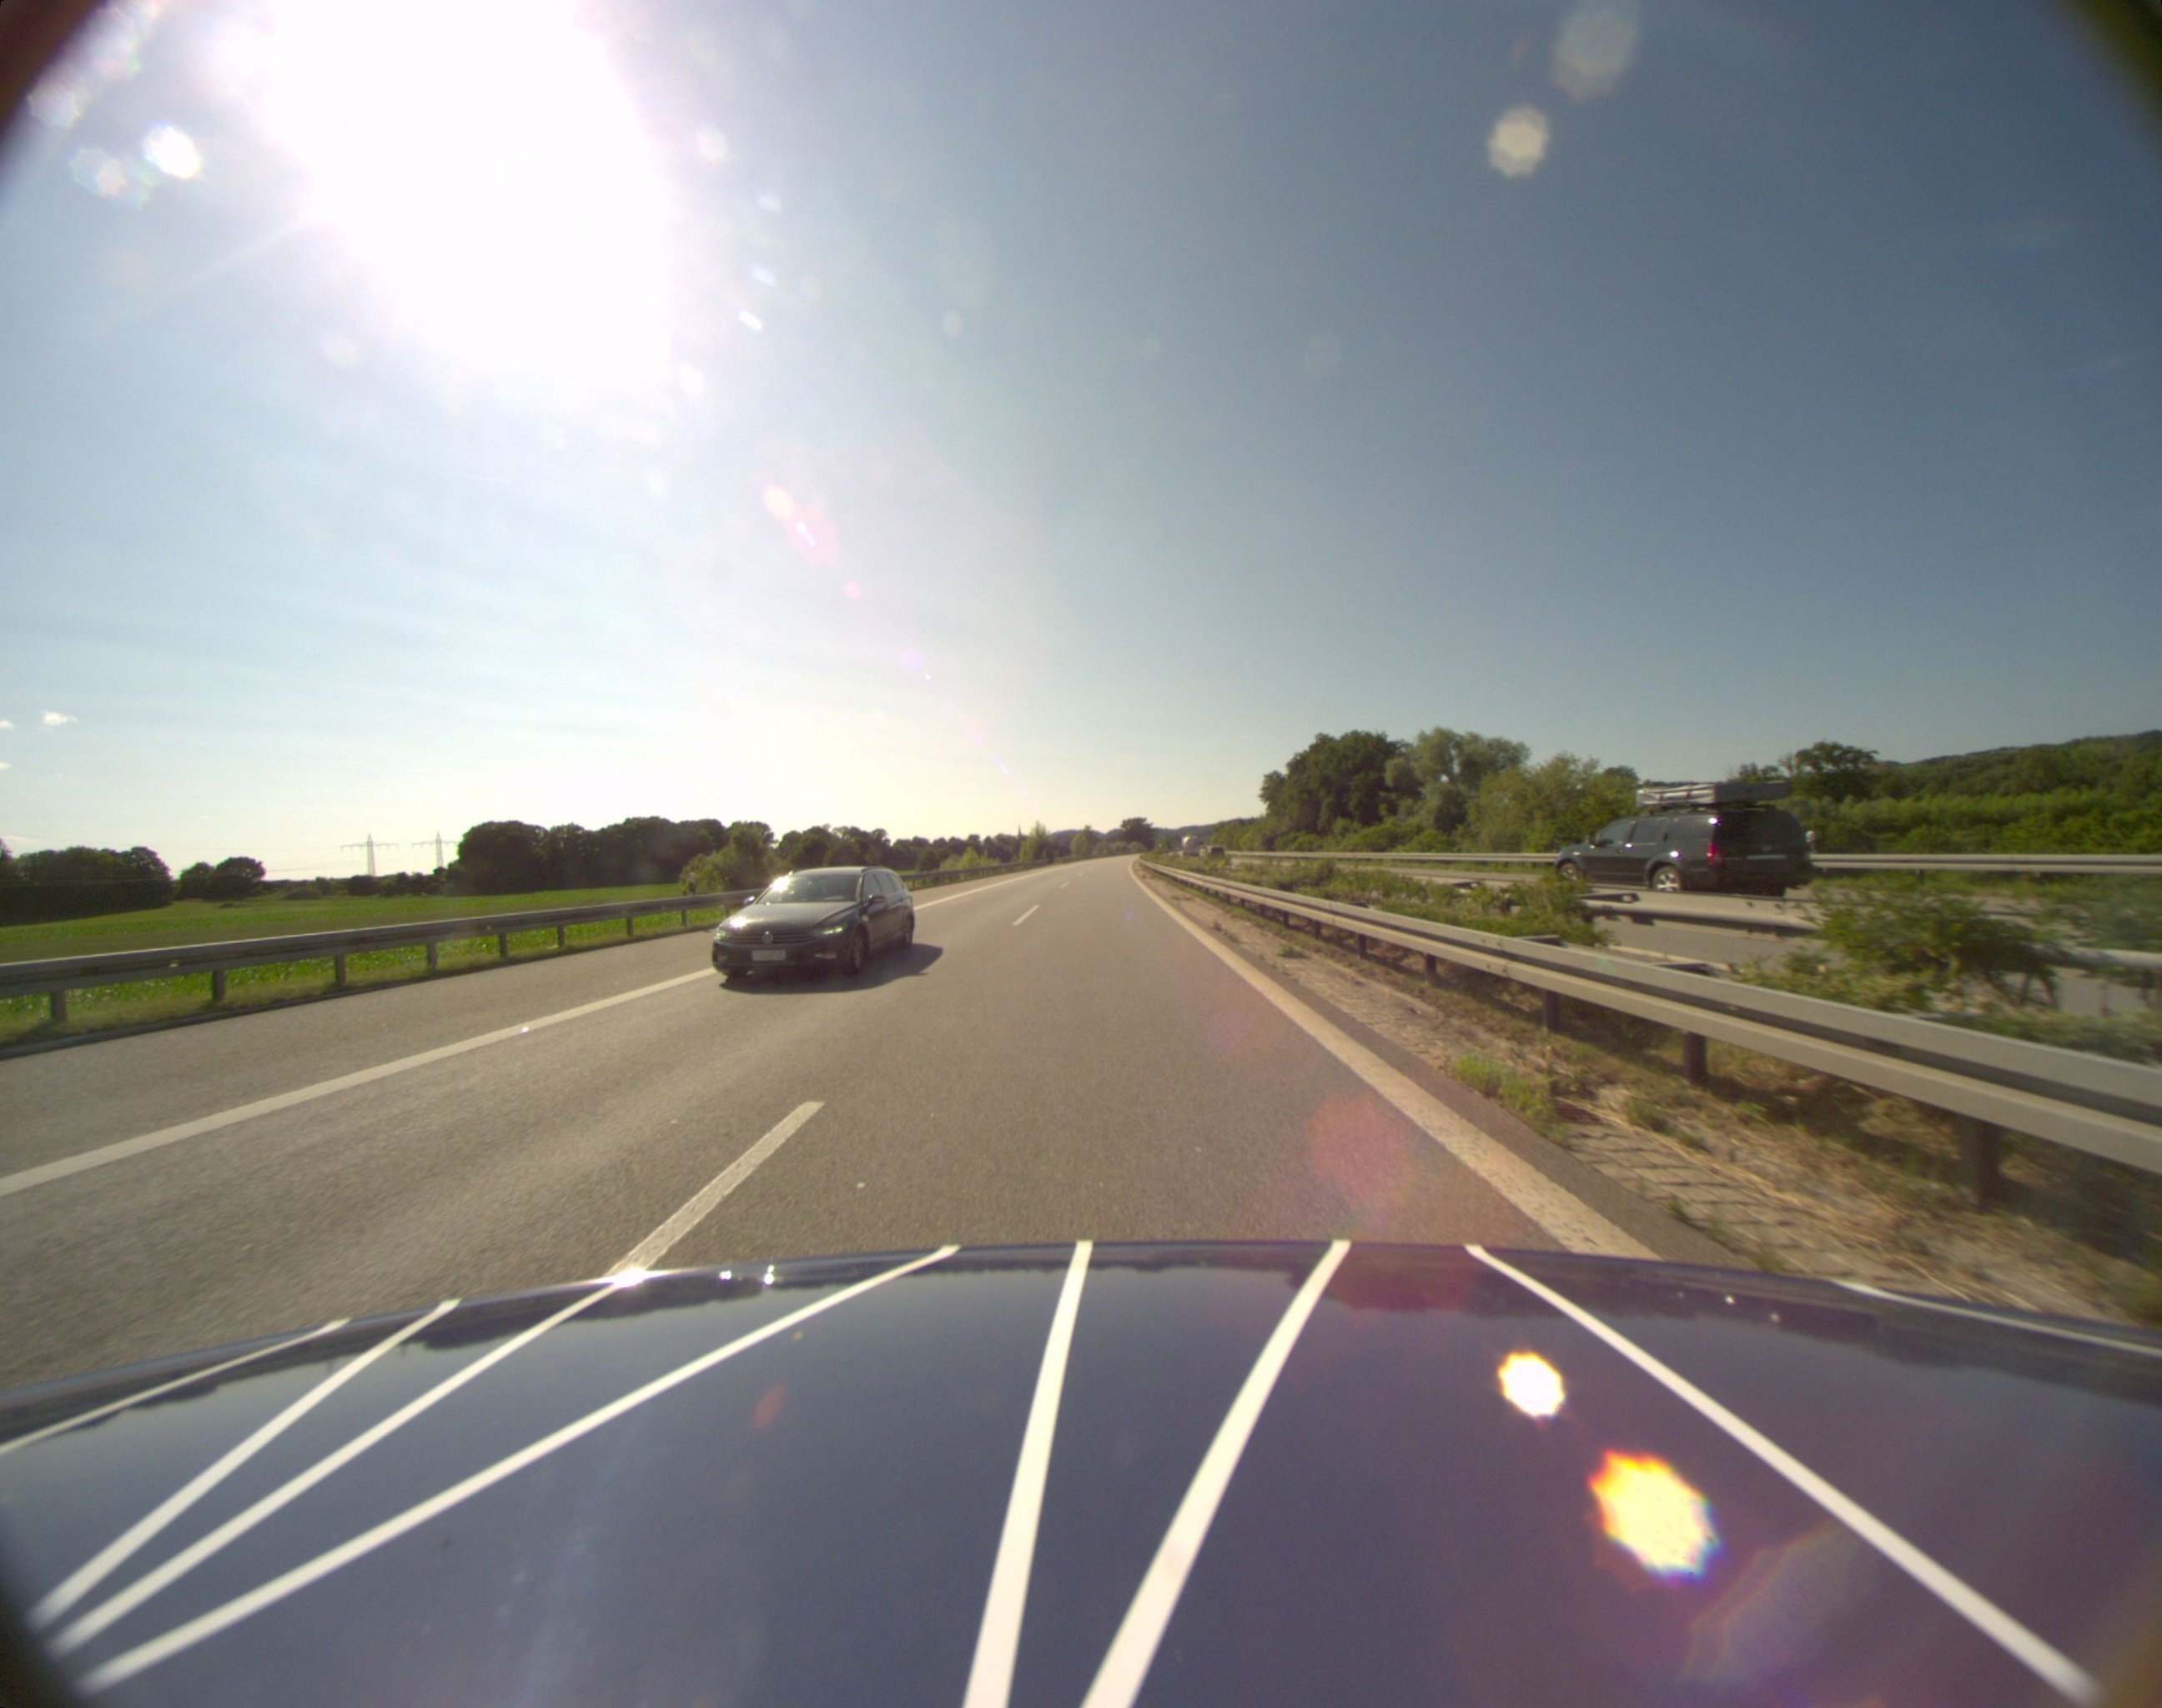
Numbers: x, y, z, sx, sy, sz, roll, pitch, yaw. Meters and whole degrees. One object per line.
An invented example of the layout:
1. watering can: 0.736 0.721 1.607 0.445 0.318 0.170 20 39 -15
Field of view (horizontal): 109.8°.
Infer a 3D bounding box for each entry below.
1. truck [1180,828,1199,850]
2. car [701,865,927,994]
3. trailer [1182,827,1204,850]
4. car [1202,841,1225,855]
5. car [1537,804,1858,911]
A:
1. truck: 19.485 -2.643 136.633 2.747 3.706 5.972 -1 1 3
2. car: -3.769 0.979 11.655 1.723 1.392 4.413 -2 1 2
3. trailer: 19.203 -2.595 130.702 2.747 3.705 10.914 -1 1 3
4. car: 15.187 -0.674 87.365 1.998 1.546 4.419 -1 1 2
5. car: 11.467 0.040 14.823 1.998 1.669 5.317 -1 0 1
